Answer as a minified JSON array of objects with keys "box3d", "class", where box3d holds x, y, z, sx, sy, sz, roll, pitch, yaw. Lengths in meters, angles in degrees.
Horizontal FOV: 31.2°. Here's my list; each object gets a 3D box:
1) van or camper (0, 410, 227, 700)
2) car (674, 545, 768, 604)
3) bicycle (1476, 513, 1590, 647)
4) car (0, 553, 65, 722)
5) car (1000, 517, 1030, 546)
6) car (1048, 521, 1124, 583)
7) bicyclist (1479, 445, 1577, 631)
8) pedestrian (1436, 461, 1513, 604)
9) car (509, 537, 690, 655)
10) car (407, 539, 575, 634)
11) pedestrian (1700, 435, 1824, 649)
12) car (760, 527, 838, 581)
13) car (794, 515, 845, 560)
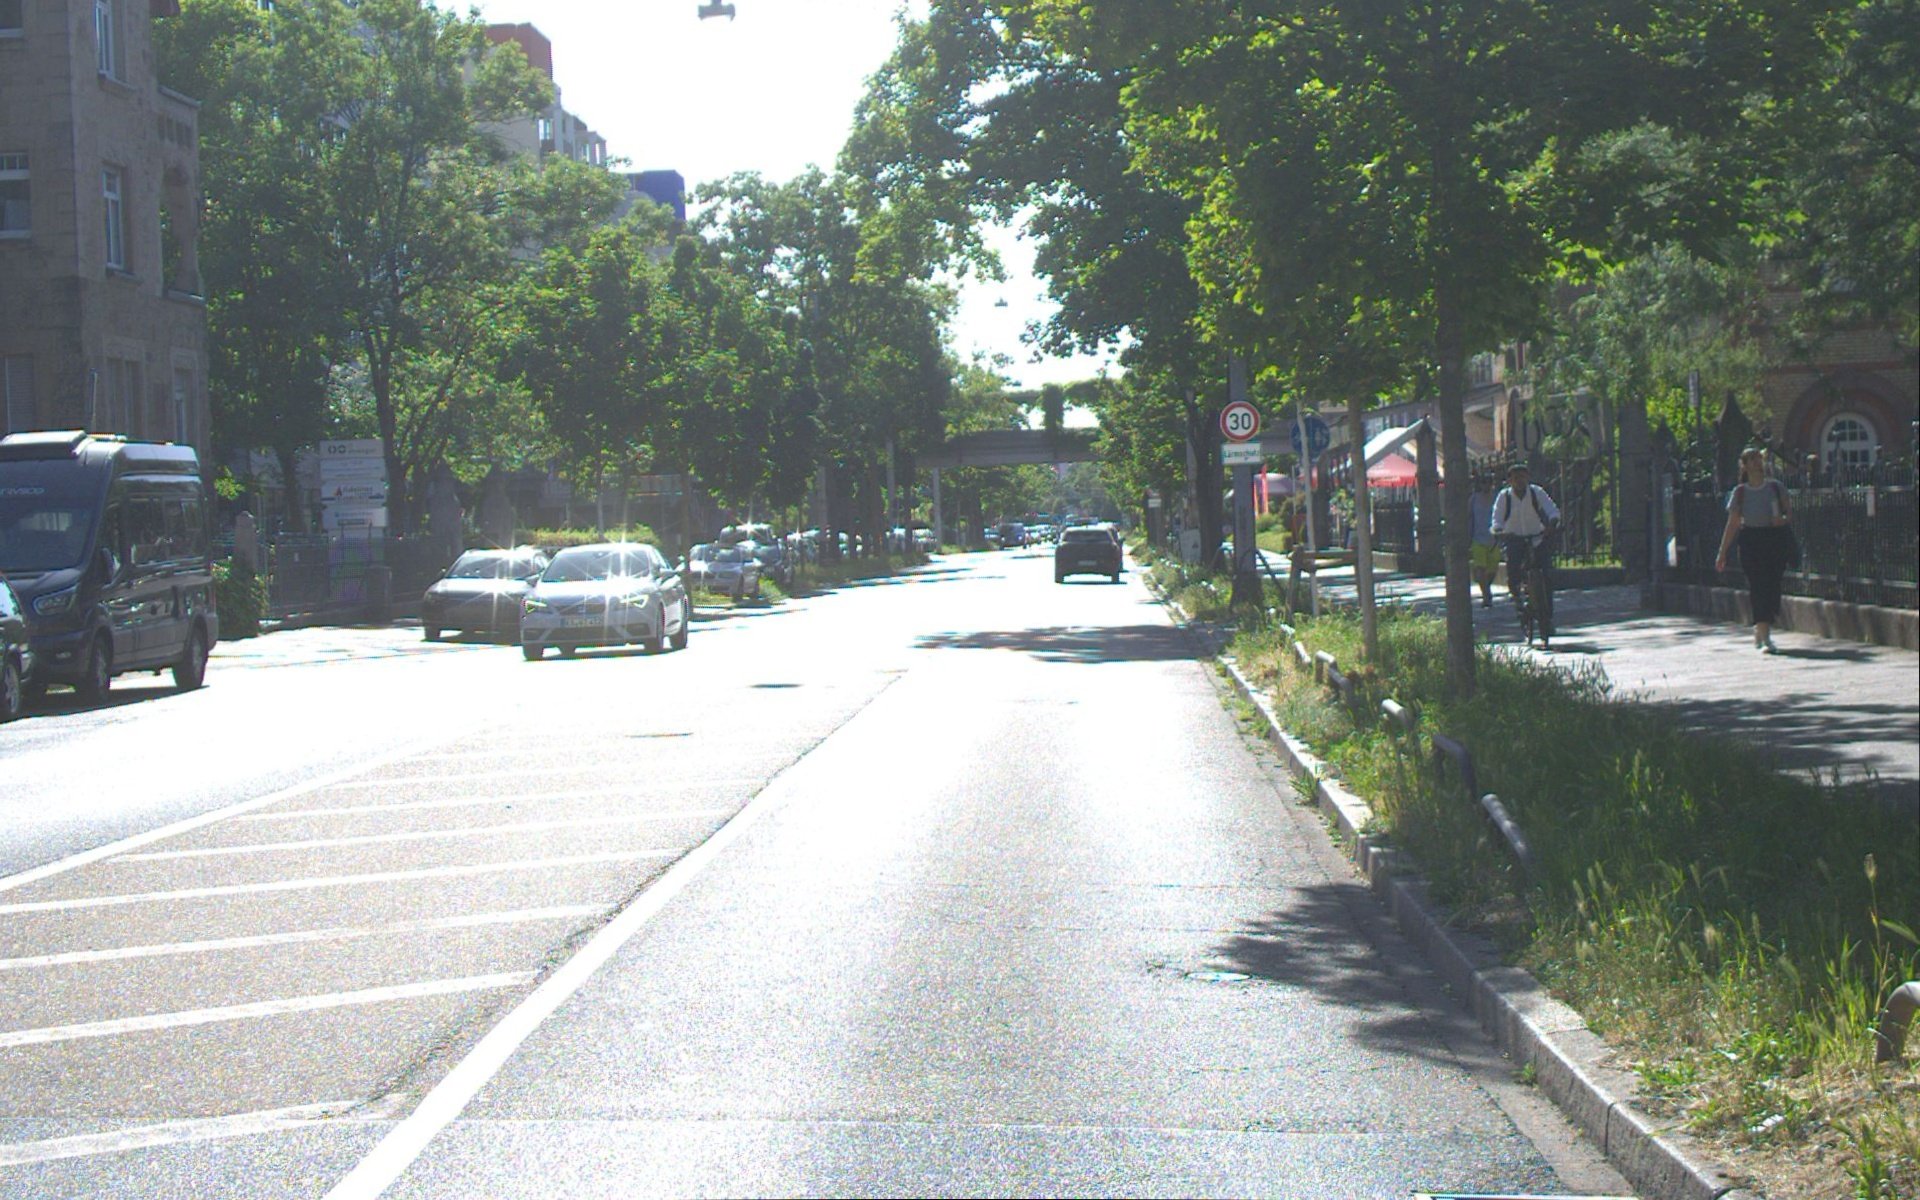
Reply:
[{"box3d":[-9.527,-0.480,35.675,2.216,2.729,6.088,-2,1,2],"class":"van or camper"},{"box3d":[-5.971,-0.656,86.228,1.688,1.378,4.190,-1,1,5],"class":"car"},{"box3d":[5.390,-0.208,32.433,0.616,1.172,1.919,-5,2,-1],"class":"bicycle"},{"box3d":[-9.336,0.411,29.770,1.694,1.451,4.663,-4,1,2],"class":"car"},{"box3d":[3.742,-4.678,232.638,1.856,1.818,4.610,-4,1,1],"class":"car"},{"box3d":[3.435,-1.331,94.257,1.985,1.595,4.141,-2,2,1],"class":"car"},{"box3d":[5.352,-0.587,32.439,0.620,1.684,0.820,-5,1,-1],"class":"bicyclist"},{"box3d":[6.710,-0.886,44.798,0.748,1.781,0.810,-5,1,16],"class":"pedestrian"},{"box3d":[-4.643,-0.090,44.787,1.918,1.414,4.226,-1,1,0],"class":"car"},{"box3d":[-7.740,-0.261,57.147,1.856,1.422,4.720,2,1,3],"class":"car"},{"box3d":[6.501,-0.472,27.909,0.694,1.652,0.820,-5,0,2],"class":"pedestrian"},{"box3d":[-4.568,-1.324,97.962,1.712,1.453,4.072,-1,1,4],"class":"car"},{"box3d":[-5.970,-2.672,146.317,1.856,1.843,4.562,-1,1,2],"class":"car"}]
